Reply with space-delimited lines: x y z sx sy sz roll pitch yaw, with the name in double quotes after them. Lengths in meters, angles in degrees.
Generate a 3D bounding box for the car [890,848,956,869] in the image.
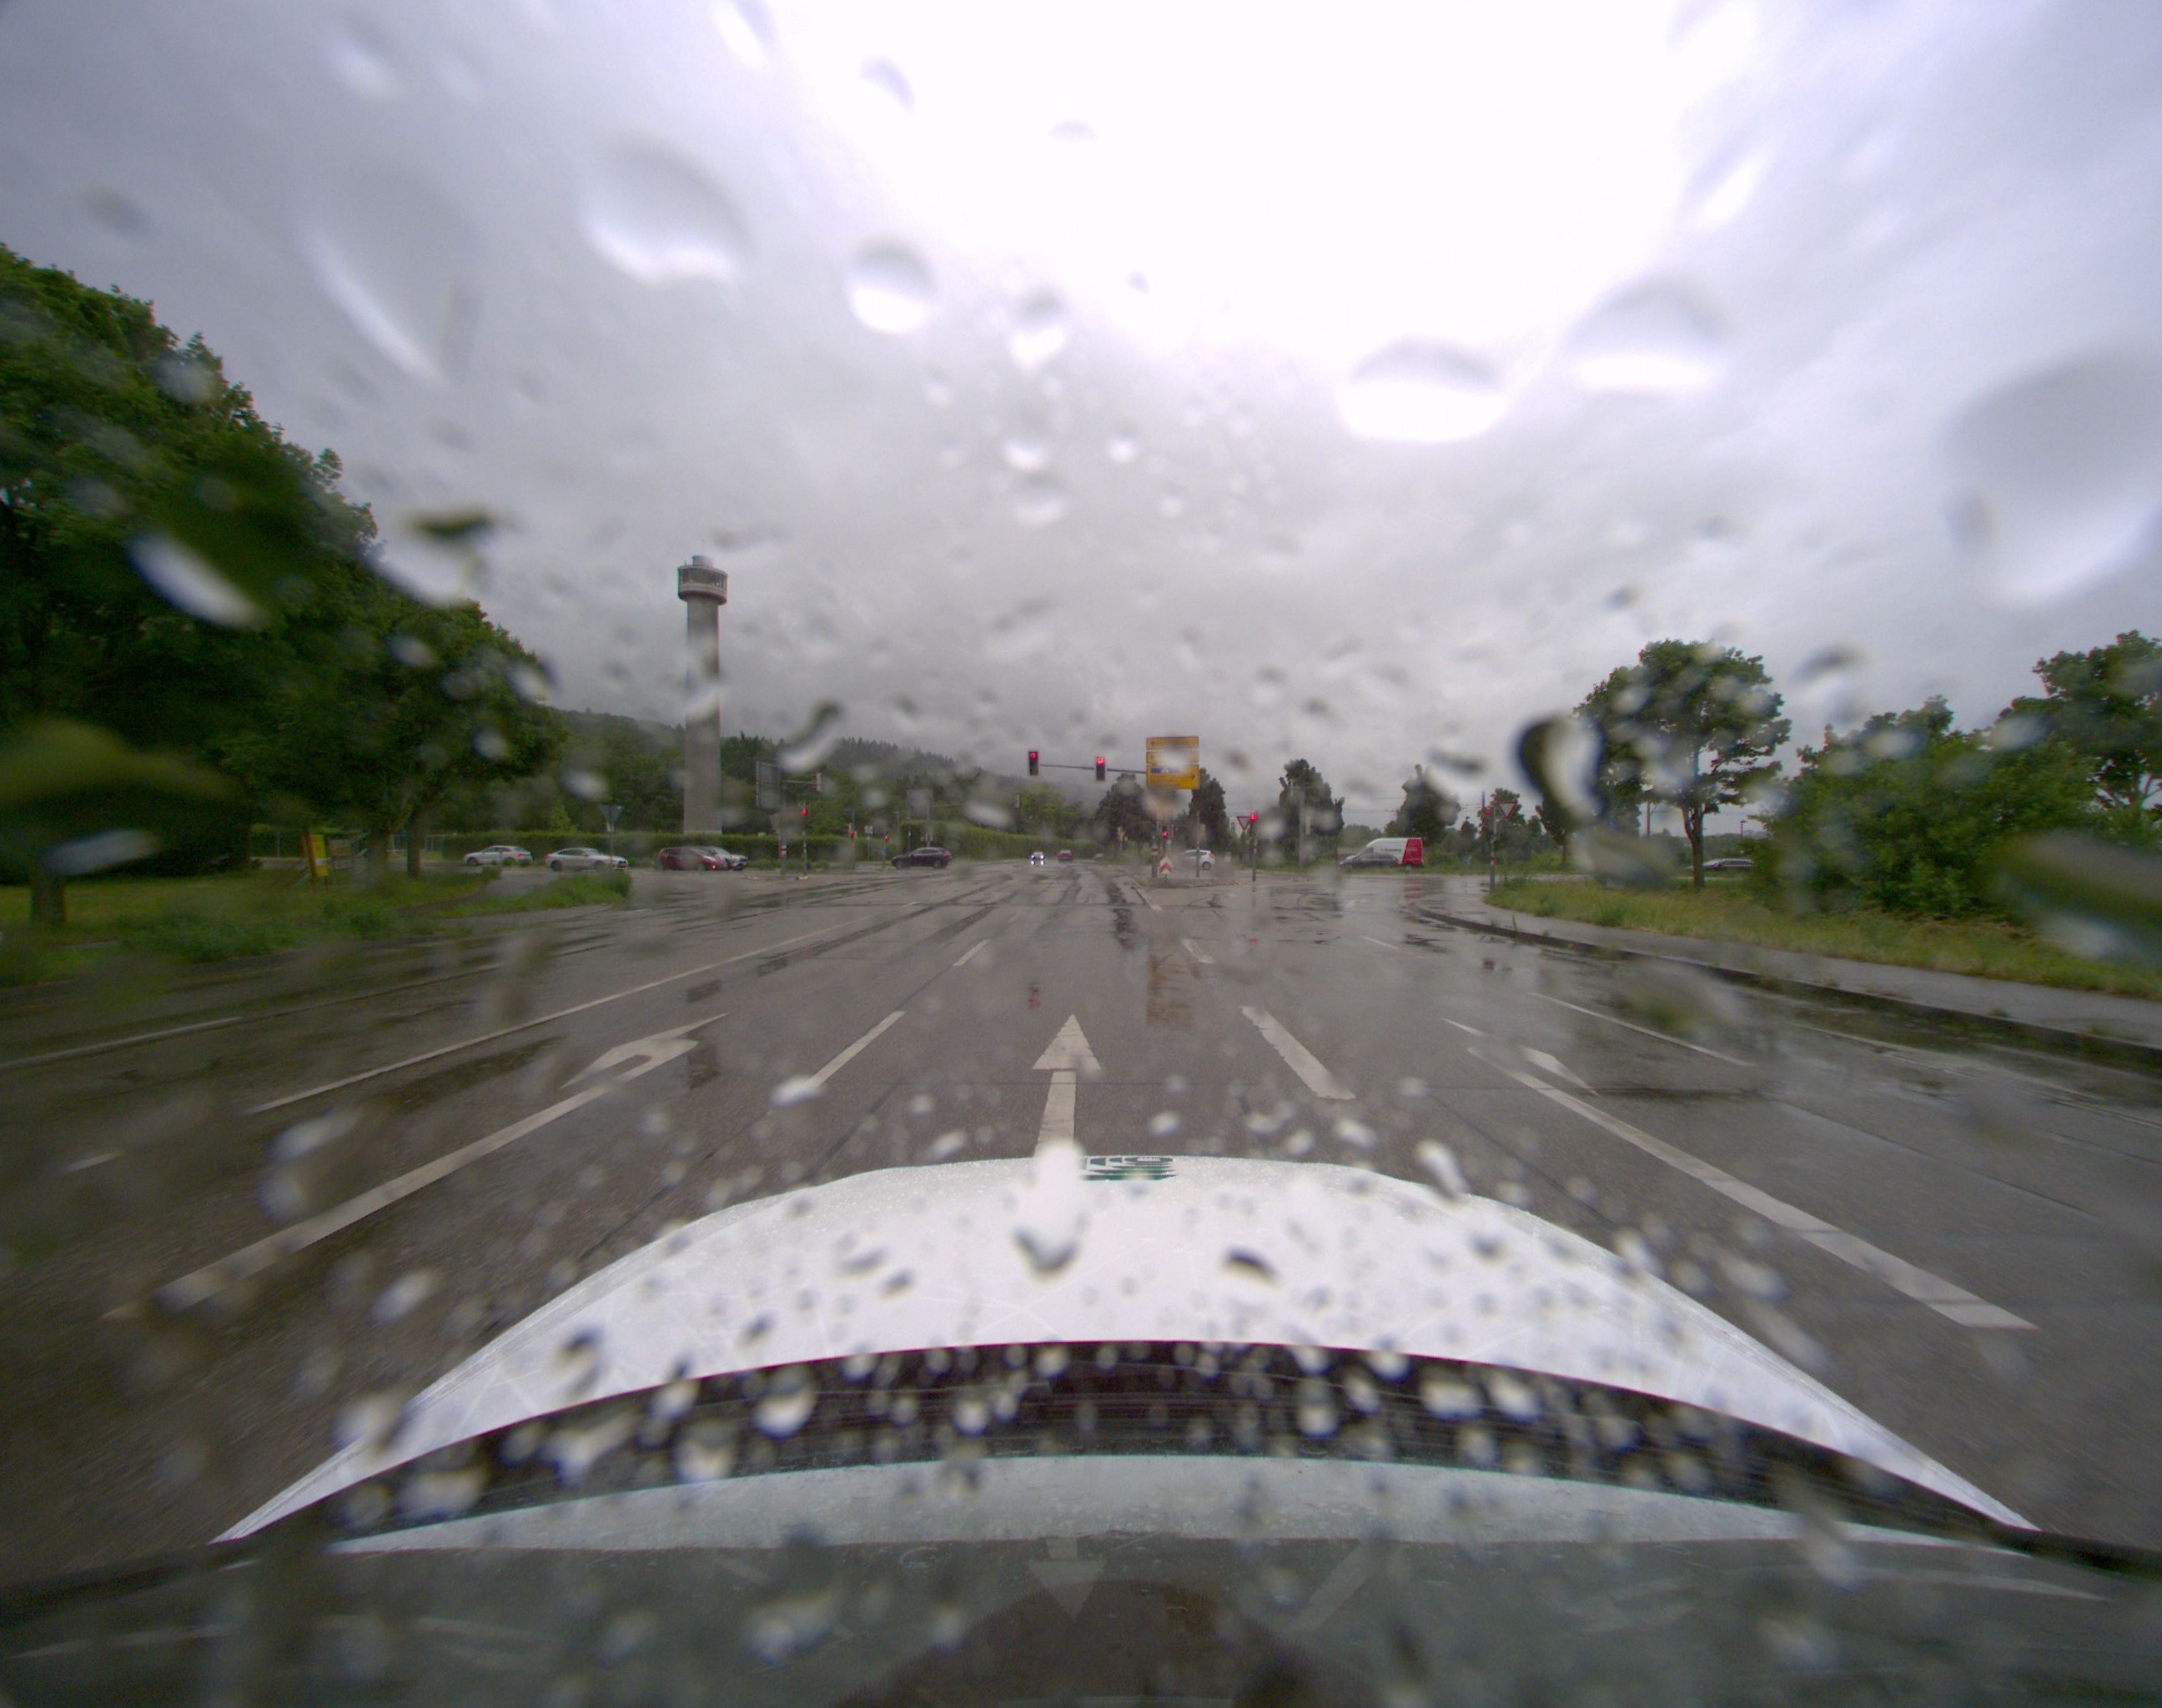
-12.129 0.337 62.653 4.648 1.639 1.825 0 1 4 "car"

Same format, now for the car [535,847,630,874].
-30.349 0.385 49.659 4.854 1.553 1.803 0 1 8 "car"

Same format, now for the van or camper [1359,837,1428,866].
24.229 -0.202 63.323 4.813 2.169 2.169 0 1 15 "van or camper"

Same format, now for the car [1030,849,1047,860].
-6.634 0.076 127.403 1.870 1.573 4.651 -2 0 5 "car"

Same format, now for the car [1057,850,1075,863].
-1.841 0.281 102.167 1.872 1.573 4.647 -2 0 2 "car"

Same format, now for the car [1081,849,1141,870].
2.430 0.440 64.825 4.648 1.553 1.825 1 1 4 "car"

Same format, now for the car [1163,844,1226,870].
8.459 0.216 60.863 4.645 1.915 1.919 0 1 6 "car"

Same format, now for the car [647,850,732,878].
-23.514 0.585 48.928 4.350 1.579 1.736 0 1 8 "car"

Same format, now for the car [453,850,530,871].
-44.494 0.485 61.570 4.380 1.579 1.725 0 1 -13 "car"

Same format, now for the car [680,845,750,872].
-23.602 0.283 52.567 3.779 1.711 1.750 0 0 8 "car"

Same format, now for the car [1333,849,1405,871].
21.060 0.404 59.691 4.646 1.553 1.826 0 1 5 "car"

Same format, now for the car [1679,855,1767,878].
44.627 0.843 56.704 4.649 1.553 1.824 0 1 3 "car"
